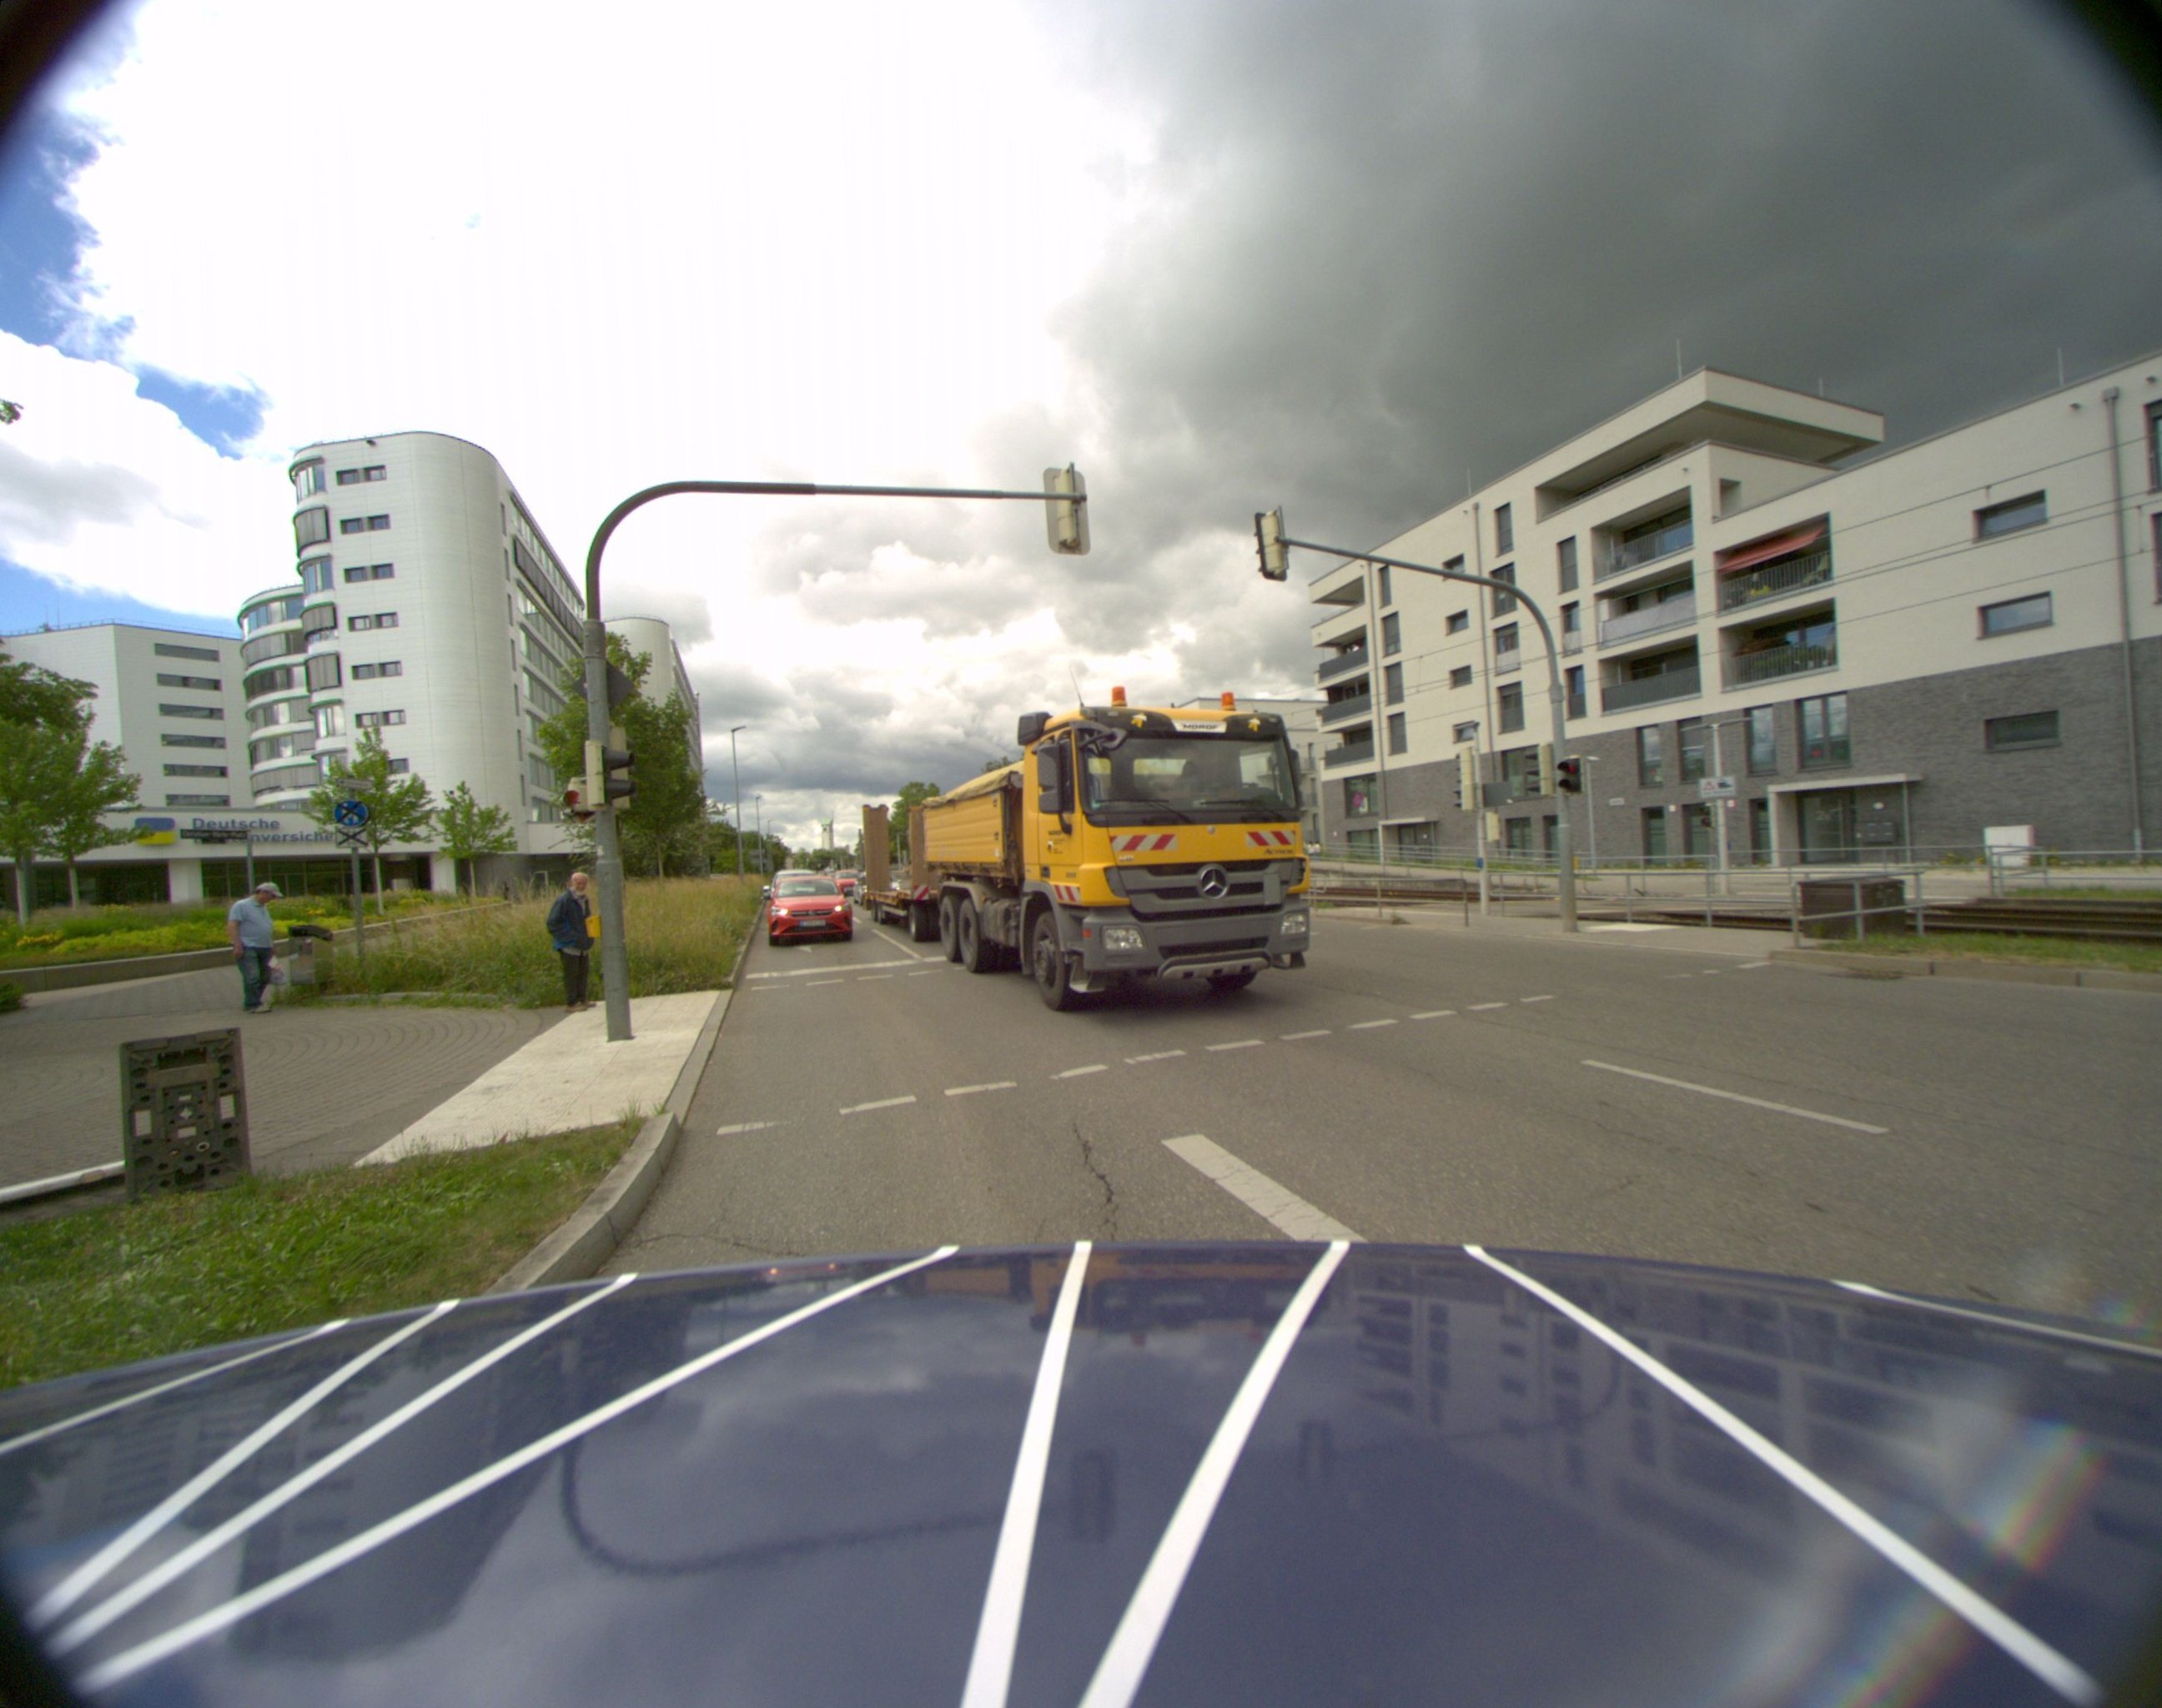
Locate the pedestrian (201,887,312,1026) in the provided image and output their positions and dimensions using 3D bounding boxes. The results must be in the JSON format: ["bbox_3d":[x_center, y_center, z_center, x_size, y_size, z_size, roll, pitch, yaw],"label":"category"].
[{"bbox_3d":[-11.310,1.375,10.454,0.694,1.780,0.727,-3,0,-17],"label":"pedestrian"}]

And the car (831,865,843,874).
[{"bbox_3d":[-40.890,2.604,127.123,1.708,1.449,3.560,-3,0,-21],"label":"car"}]

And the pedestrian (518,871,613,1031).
[{"bbox_3d":[-6.070,1.086,8.942,0.729,1.730,0.953,-4,1,-41],"label":"pedestrian"}]

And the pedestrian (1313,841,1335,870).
[{"bbox_3d":[12.306,0.076,38.481,0.716,1.401,0.669,-3,0,-22],"label":"pedestrian"}]

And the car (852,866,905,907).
[{"bbox_3d":[-8.635,1.339,32.250,1.695,1.471,3.993,-3,1,-21],"label":"car"}]

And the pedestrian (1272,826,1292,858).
[{"bbox_3d":[12.834,-0.755,48.557,0.914,2.002,0.669,-3,0,-22],"label":"pedestrian"}]

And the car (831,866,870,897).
[{"bbox_3d":[-12.948,1.498,42.563,1.695,1.471,3.993,-3,1,-21],"label":"car"}]

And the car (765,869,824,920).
[{"bbox_3d":[-9.993,1.349,26.420,1.741,1.565,3.440,-3,0,-22],"label":"car"}]

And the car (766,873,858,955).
[{"bbox_3d":[-6.175,1.257,17.377,1.695,1.471,3.993,-3,1,-21],"label":"car"}]

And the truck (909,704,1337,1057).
[{"bbox_3d":[-0.270,0.175,10.537,2.731,2.986,7.764,-3,1,-22],"label":"truck"}]

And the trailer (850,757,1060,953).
[{"bbox_3d":[-3.797,0.034,19.178,2.718,3.501,10.895,-3,1,-22],"label":"trailer"}]

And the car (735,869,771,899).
[{"bbox_3d":[-19.250,1.719,44.681,1.741,1.565,3.440,-3,0,-22],"label":"car"}]

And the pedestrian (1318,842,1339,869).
[{"bbox_3d":[12.893,0.075,39.632,0.716,1.401,0.669,-3,0,-22],"label":"pedestrian"}]

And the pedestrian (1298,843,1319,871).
[{"bbox_3d":[11.712,0.142,39.197,0.716,1.401,0.669,-3,0,-22],"label":"pedestrian"}]

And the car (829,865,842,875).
[{"bbox_3d":[-45.412,3.003,140.615,1.890,1.761,4.855,-3,0,-21],"label":"car"}]

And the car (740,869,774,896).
[{"bbox_3d":[-20.998,1.814,49.425,1.853,1.565,4.615,-3,0,-22],"label":"car"}]

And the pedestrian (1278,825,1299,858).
[{"bbox_3d":[11.025,-0.652,40.433,0.716,1.677,0.764,-3,0,-22],"label":"pedestrian"}]
